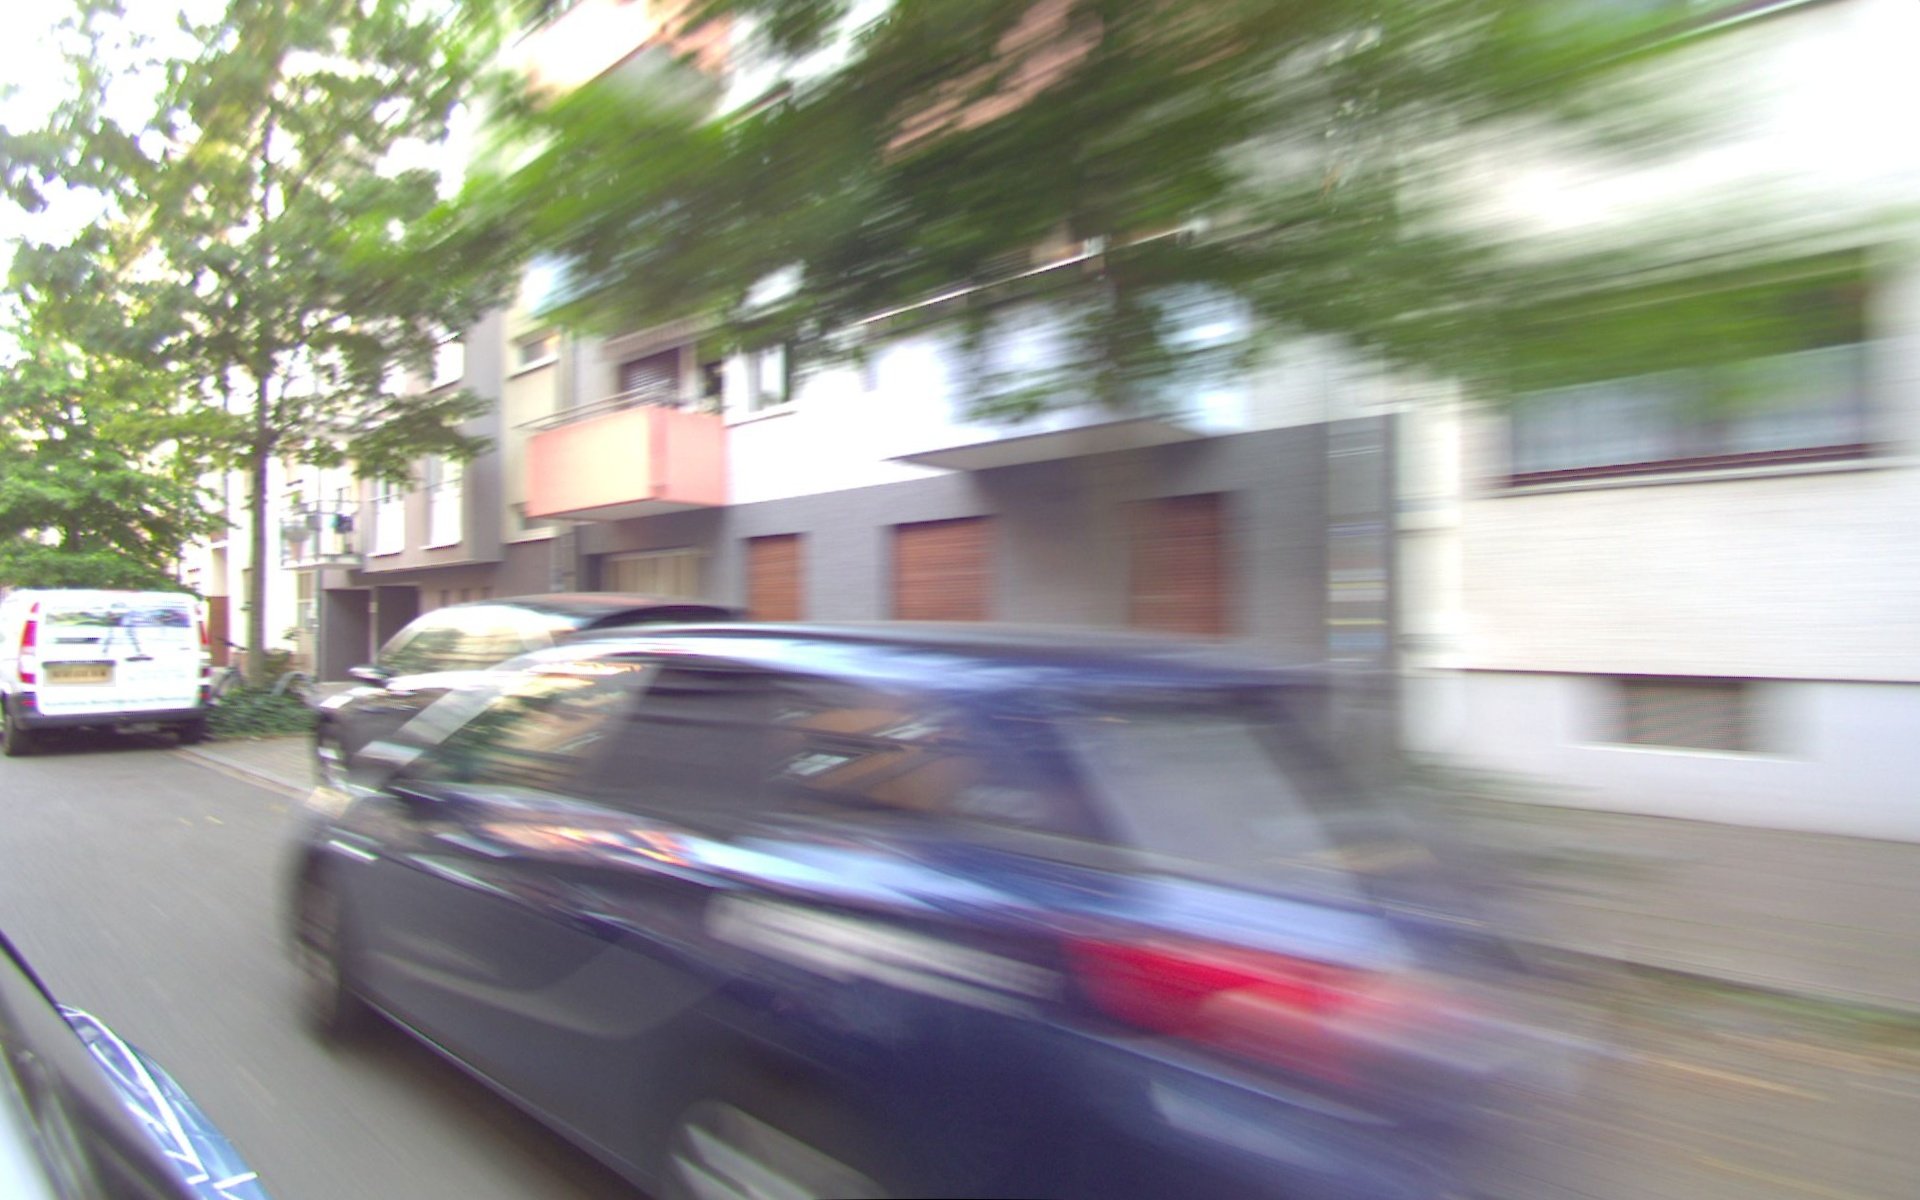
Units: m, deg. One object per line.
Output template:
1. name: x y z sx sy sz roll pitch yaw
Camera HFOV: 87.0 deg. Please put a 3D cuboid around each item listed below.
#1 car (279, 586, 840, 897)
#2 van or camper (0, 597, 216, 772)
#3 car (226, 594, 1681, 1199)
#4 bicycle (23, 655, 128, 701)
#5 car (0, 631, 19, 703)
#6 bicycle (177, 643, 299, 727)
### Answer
1. car: -3.329 0.808 7.784 4.919 1.659 1.973 -2 -1 41
2. van or camper: -11.396 0.989 12.986 4.748 1.857 1.858 -2 -3 40
3. car: -0.586 0.819 3.193 4.513 1.529 1.811 -2 -2 41
4. bicycle: -20.150 1.760 23.095 1.702 1.002 0.578 0 -3 -15
5. car: -22.912 1.494 22.978 3.995 1.575 1.647 -2 -3 38
6. bicycle: -10.789 1.243 15.211 0.688 1.172 1.825 0 -2 -7
